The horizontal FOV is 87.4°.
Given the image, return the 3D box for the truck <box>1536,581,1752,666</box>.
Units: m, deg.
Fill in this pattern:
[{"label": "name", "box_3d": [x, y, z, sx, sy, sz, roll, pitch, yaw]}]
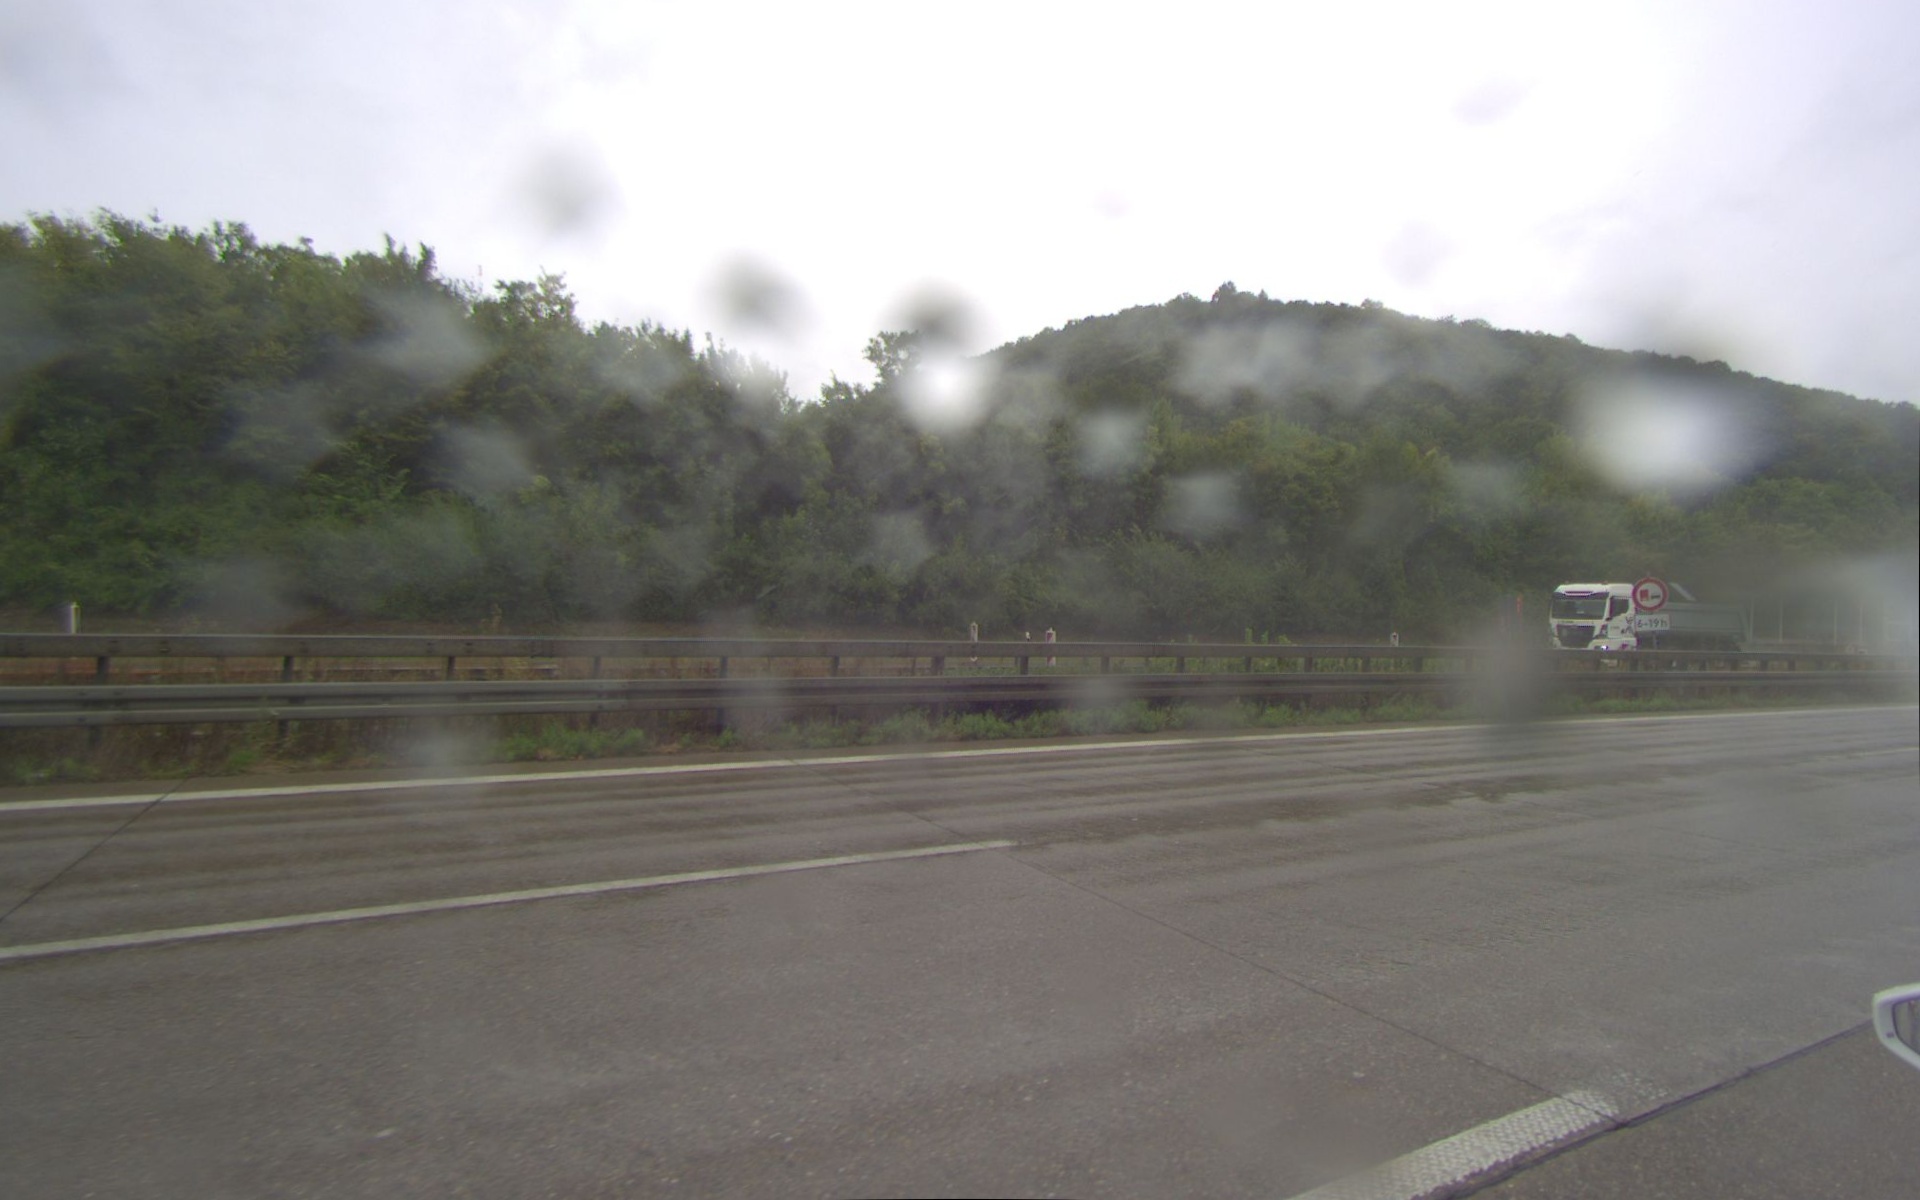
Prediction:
[{"label": "truck", "box_3d": [29.940, 1.069, 43.750, 11.369, 3.359, 2.763, 2, 0, -28]}]
